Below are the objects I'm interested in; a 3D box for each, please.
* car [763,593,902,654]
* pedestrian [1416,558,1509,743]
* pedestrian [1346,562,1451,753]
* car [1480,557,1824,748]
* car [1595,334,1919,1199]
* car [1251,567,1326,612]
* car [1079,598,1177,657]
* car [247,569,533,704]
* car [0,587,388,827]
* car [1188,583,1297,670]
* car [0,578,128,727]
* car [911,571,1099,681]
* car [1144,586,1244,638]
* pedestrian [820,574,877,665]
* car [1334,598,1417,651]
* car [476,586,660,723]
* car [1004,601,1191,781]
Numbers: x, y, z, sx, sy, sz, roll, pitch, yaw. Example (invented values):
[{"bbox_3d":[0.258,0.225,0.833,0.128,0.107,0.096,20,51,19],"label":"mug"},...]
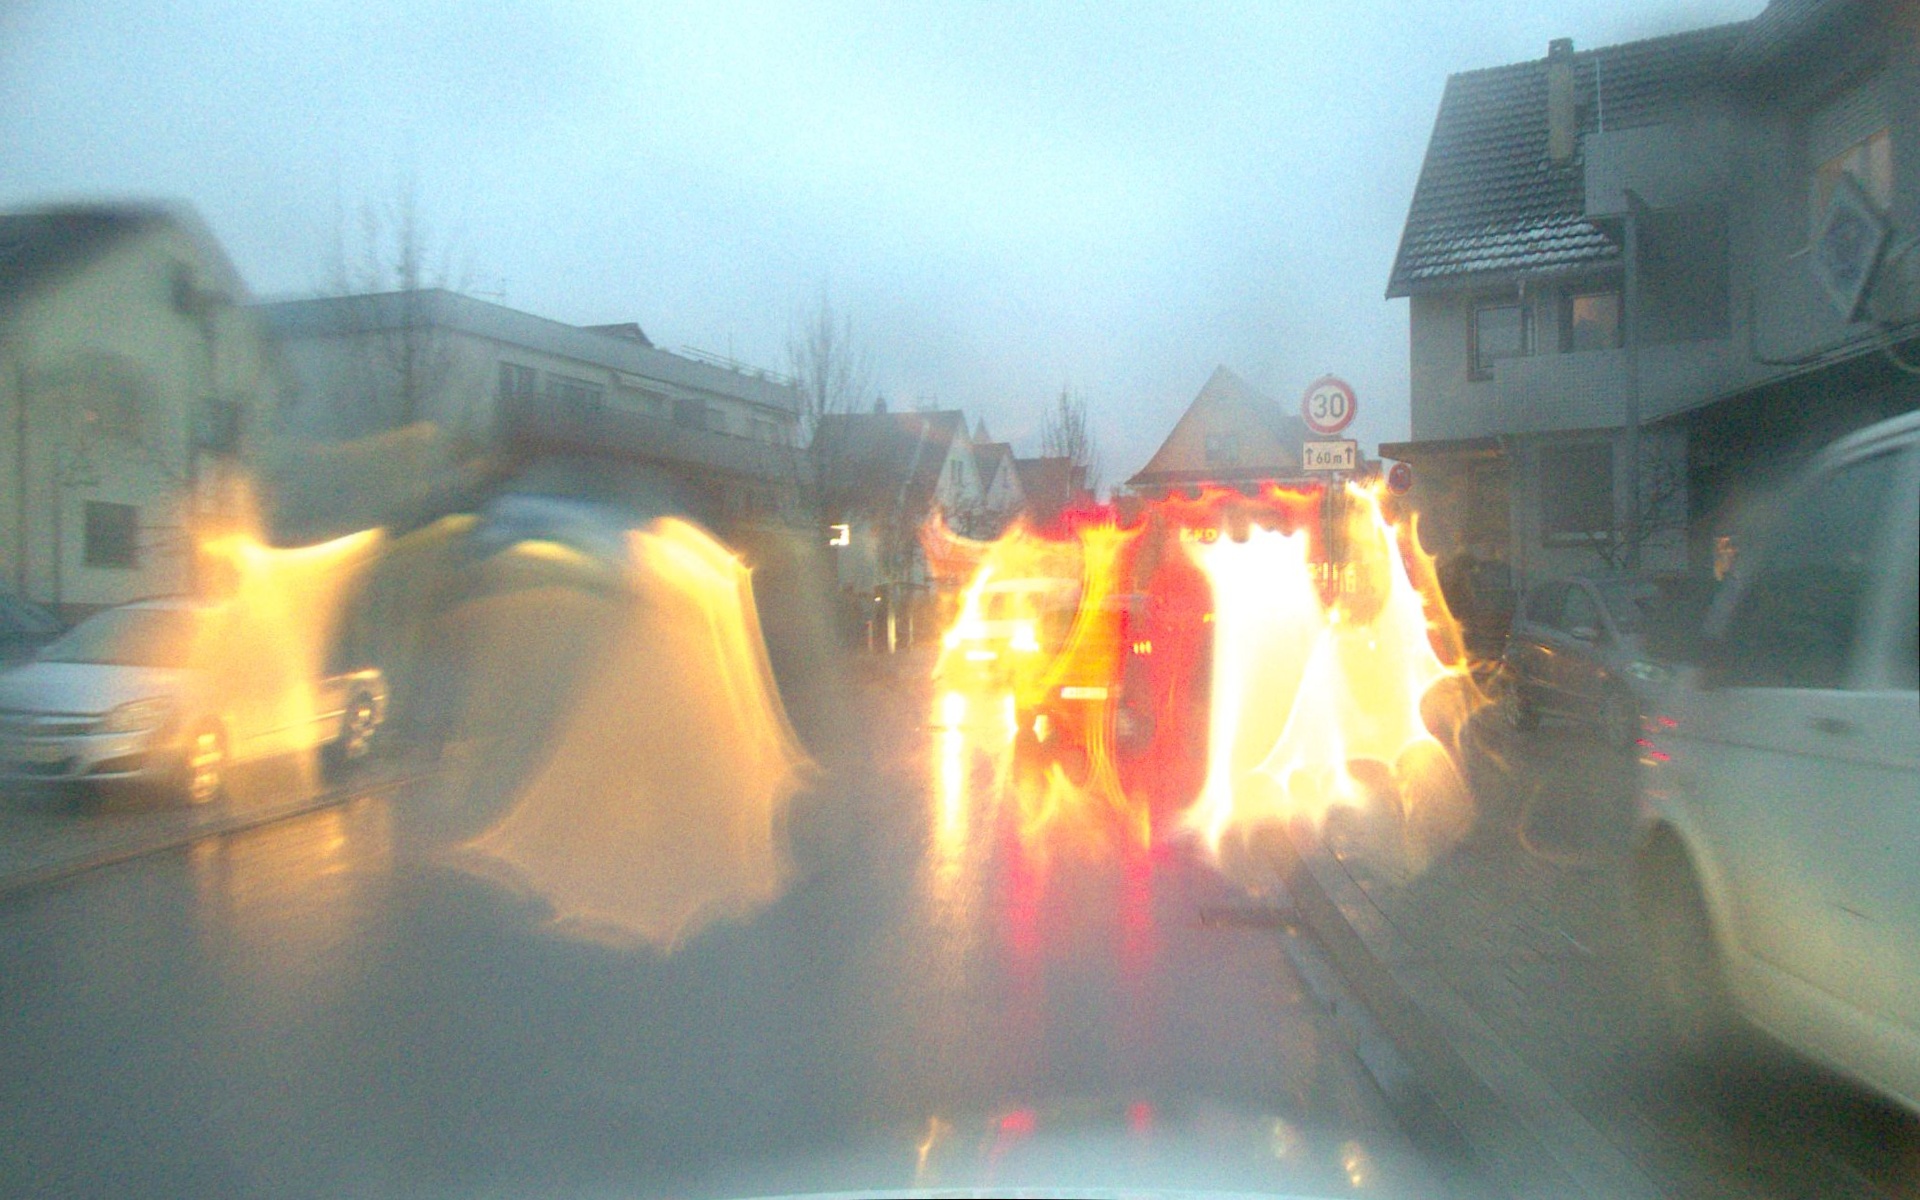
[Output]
[{"bbox_3d":[-3.467,0.656,44.564,1.723,1.503,4.030,-2,0,-39],"label":"car"},{"bbox_3d":[4.763,0.465,15.709,0.568,1.698,0.791,-2,0,-4],"label":"pedestrian"},{"bbox_3d":[4.111,0.527,15.560,0.699,1.729,0.804,-2,0,-4],"label":"pedestrian"},{"bbox_3d":[6.546,0.444,16.085,1.699,1.588,3.662,-2,0,-1],"label":"car"},{"bbox_3d":[3.055,0.401,3.411,1.931,1.994,4.855,-1,1,4],"label":"car"},{"bbox_3d":[12.064,-0.394,60.553,1.637,1.542,3.995,1,1,27],"label":"car"},{"bbox_3d":[4.822,0.749,47.123,1.658,1.543,3.771,1,1,24],"label":"car"},{"bbox_3d":[-9.209,0.589,26.445,5.303,1.918,2.061,-2,0,43],"label":"car"},{"bbox_3d":[-6.192,0.690,12.989,1.865,1.560,4.256,-1,0,1],"label":"car"},{"bbox_3d":[5.916,0.518,34.301,1.760,1.691,4.002,0,0,17],"label":"car"},{"bbox_3d":[-11.357,0.551,18.862,3.926,1.557,1.989,0,1,40],"label":"car"},{"bbox_3d":[0.936,0.410,30.317,1.905,1.781,4.852,-3,0,21],"label":"car"},{"bbox_3d":[7.347,0.341,51.636,1.715,1.542,4.336,1,1,28],"label":"car"},{"bbox_3d":[-2.381,0.414,35.370,0.739,1.899,1.059,-1,0,28],"label":"pedestrian"},{"bbox_3d":[12.067,0.689,47.886,1.616,1.467,3.864,-1,0,25],"label":"car"},{"bbox_3d":[-4.821,0.611,20.788,1.798,1.562,3.671,0,0,-6],"label":"car"},{"bbox_3d":[1.691,0.971,19.876,1.951,1.827,4.652,-1,1,6],"label":"car"}]
